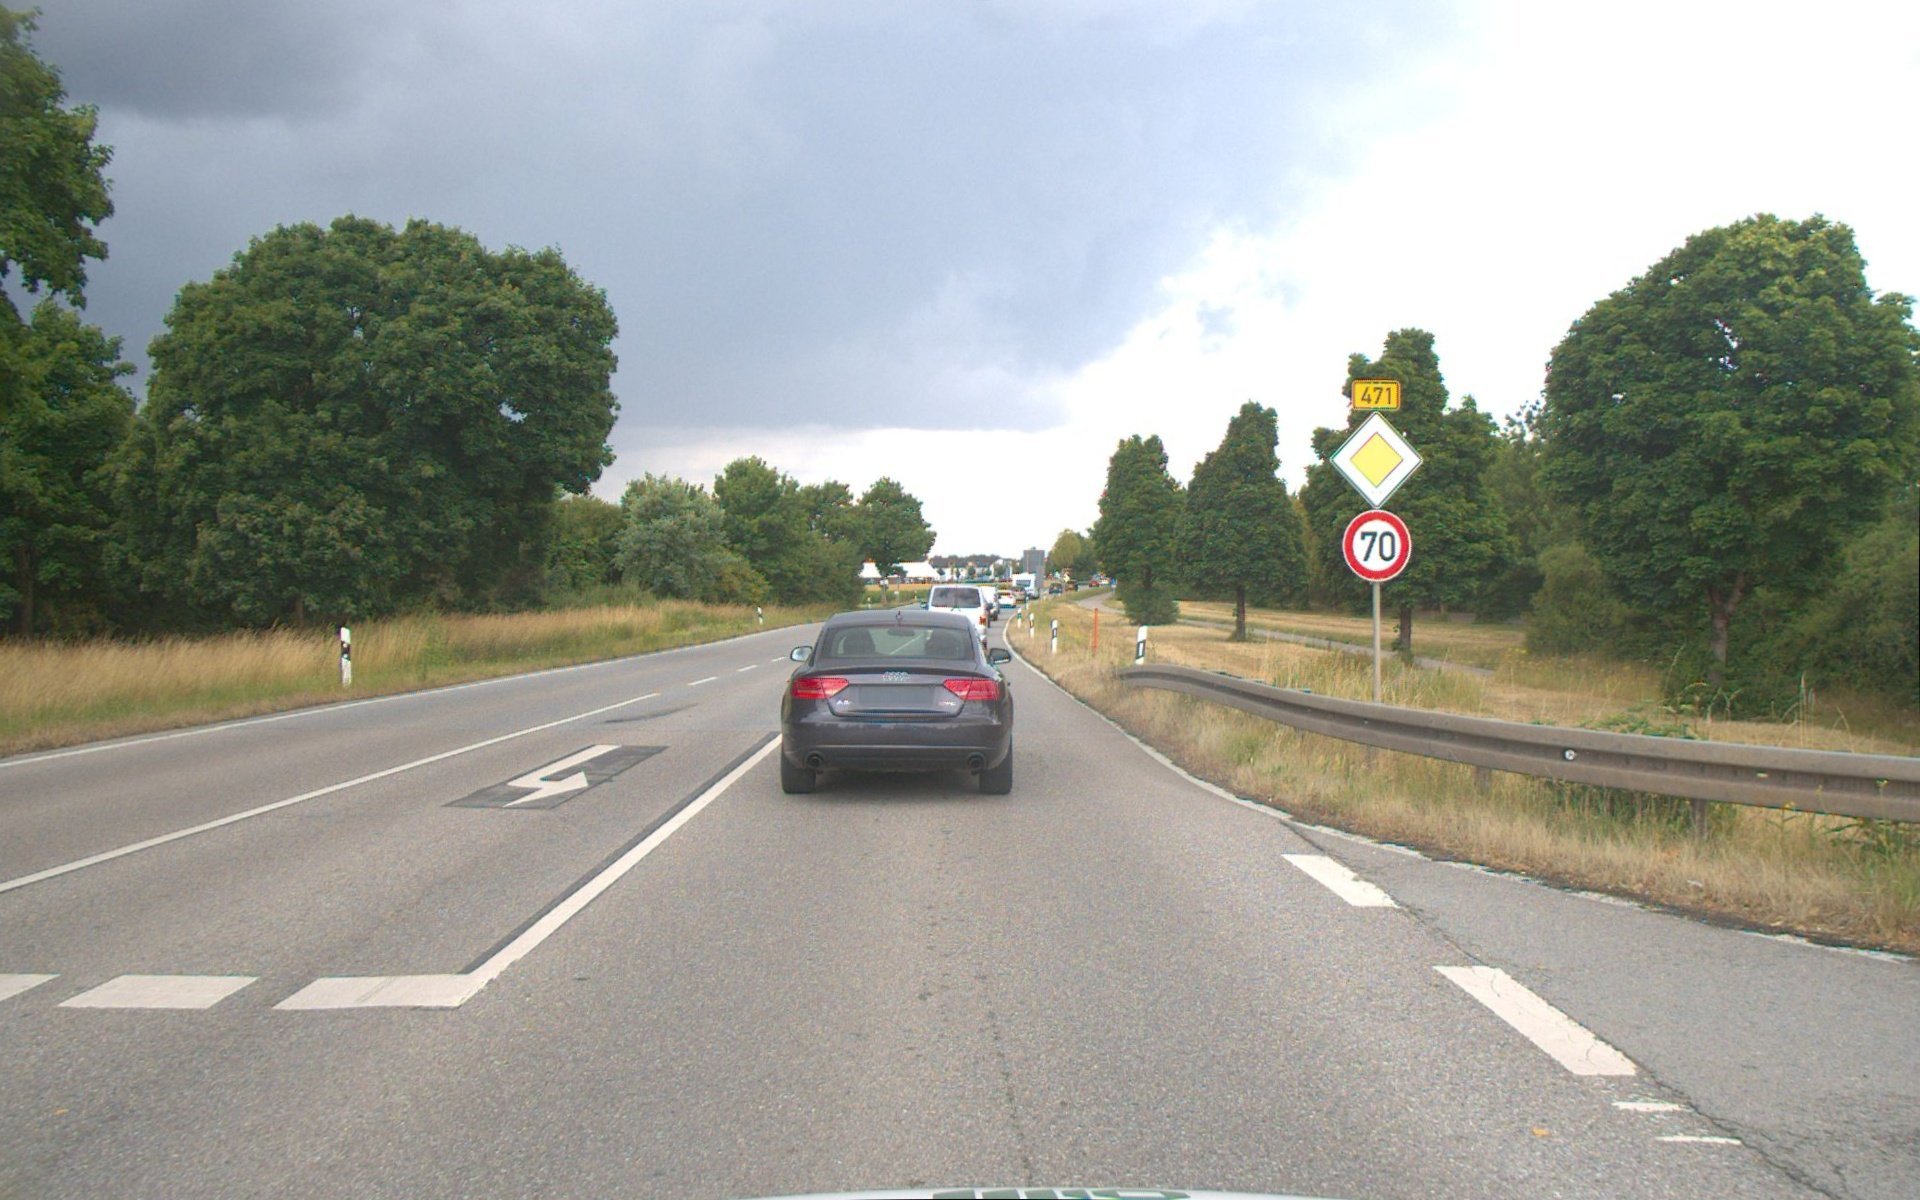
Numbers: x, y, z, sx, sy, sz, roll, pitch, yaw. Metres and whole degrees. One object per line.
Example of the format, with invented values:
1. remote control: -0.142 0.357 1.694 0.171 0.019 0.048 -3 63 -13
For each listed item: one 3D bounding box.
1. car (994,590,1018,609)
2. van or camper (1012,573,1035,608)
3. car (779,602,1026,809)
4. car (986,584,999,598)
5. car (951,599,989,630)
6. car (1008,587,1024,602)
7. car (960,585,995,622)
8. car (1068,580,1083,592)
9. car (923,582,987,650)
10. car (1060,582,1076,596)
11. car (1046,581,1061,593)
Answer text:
1. car: 3.755 -0.046 134.063 1.699 1.541 3.749 0 0 5
2. van or camper: 6.509 -0.993 170.358 2.292 3.542 5.720 0 0 2
3. car: -0.446 0.758 13.802 1.746 1.400 3.999 1 1 -1
4. car: 4.323 -1.236 220.311 1.562 1.834 3.200 1 0 0
5. car: 0.500 0.680 81.780 1.758 1.489 3.249 0 0 3
6. car: 5.131 -0.490 151.075 1.231 1.377 3.468 0 0 5
7. car: 1.023 0.184 96.914 1.952 2.125 4.001 0 0 2
8. car: 15.340 -1.882 219.846 1.784 1.624 4.000 1 0 0
9. car: -0.172 0.436 49.014 1.801 1.915 3.999 1 1 -1
10. car: 15.520 -1.609 238.471 1.953 2.049 3.999 0 0 -1
11. car: 12.090 -1.653 214.688 1.684 1.477 4.000 1 0 0
